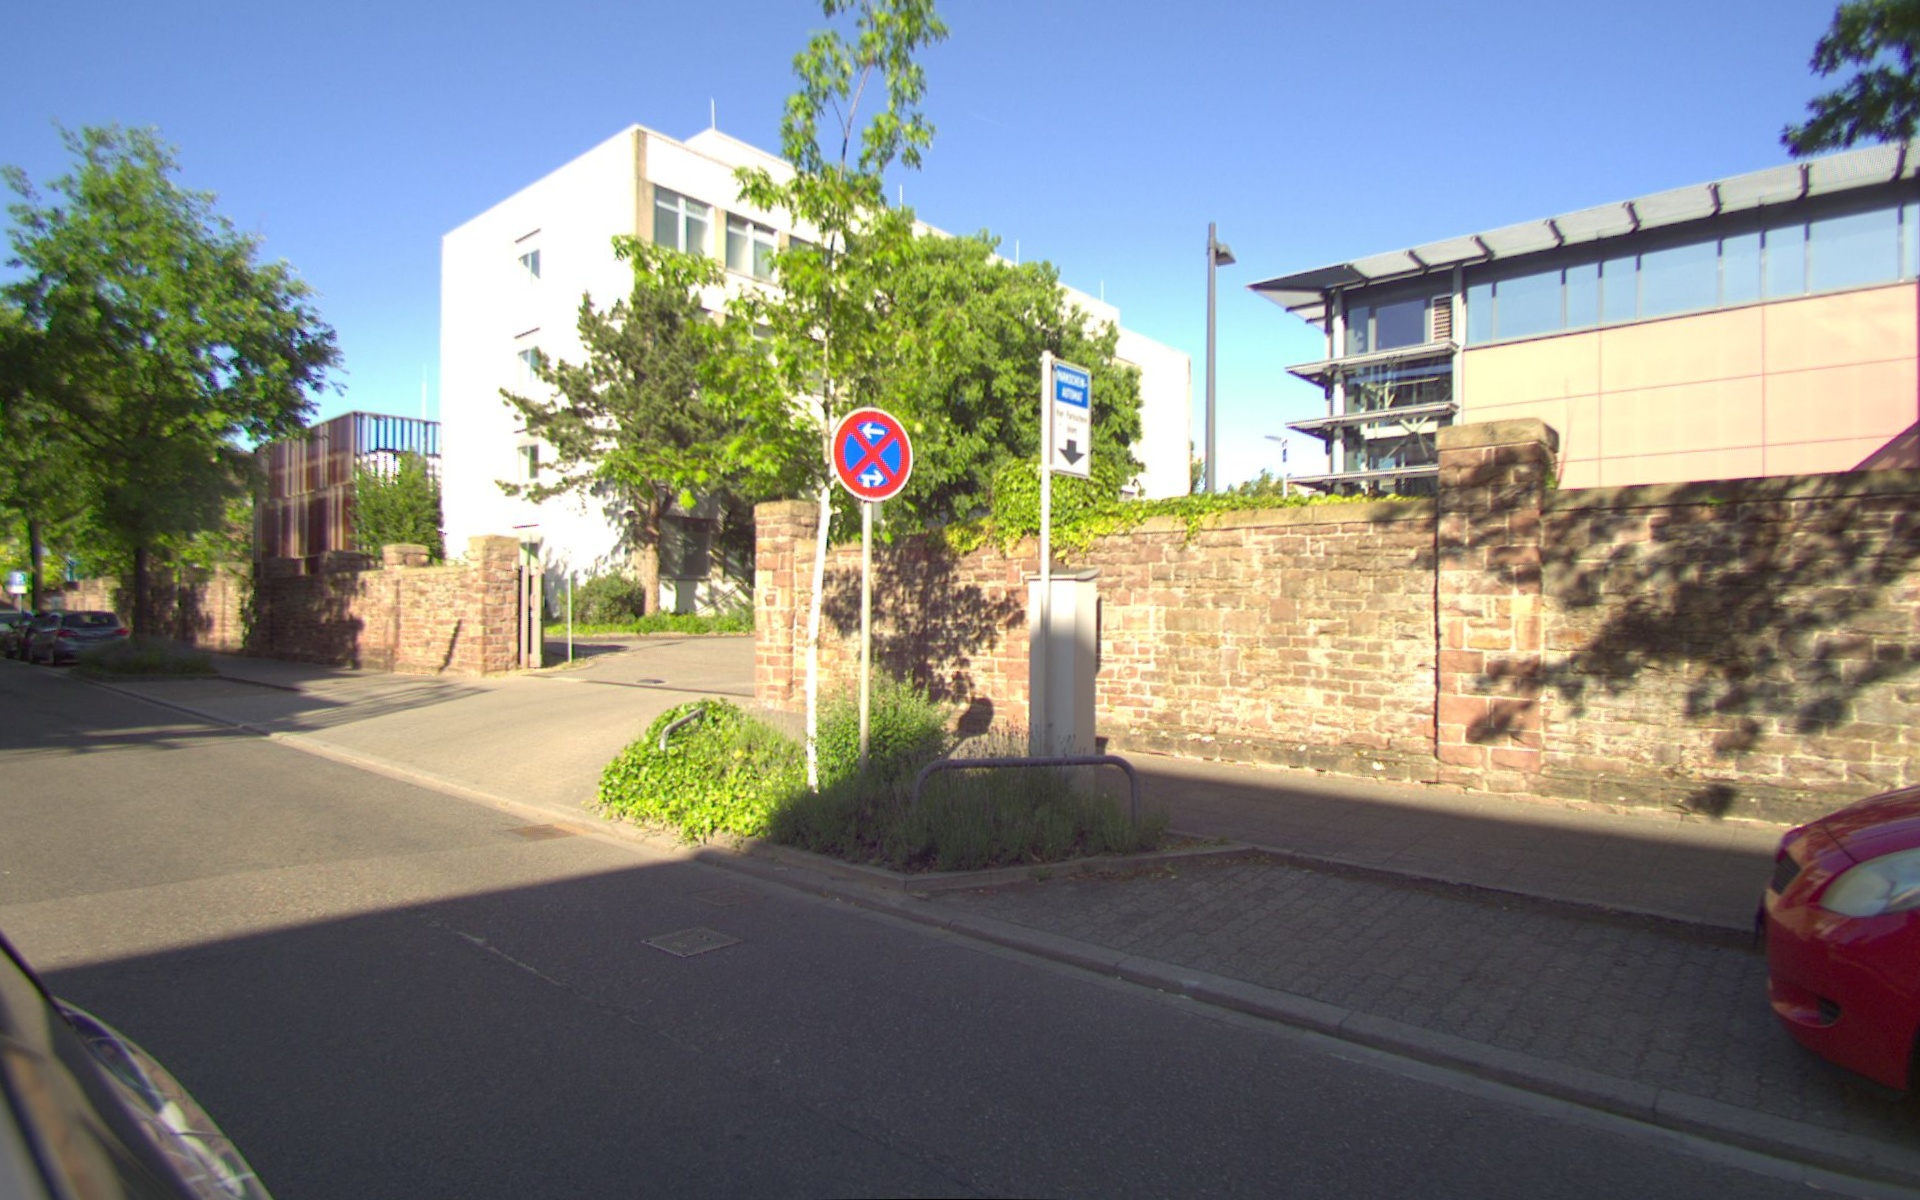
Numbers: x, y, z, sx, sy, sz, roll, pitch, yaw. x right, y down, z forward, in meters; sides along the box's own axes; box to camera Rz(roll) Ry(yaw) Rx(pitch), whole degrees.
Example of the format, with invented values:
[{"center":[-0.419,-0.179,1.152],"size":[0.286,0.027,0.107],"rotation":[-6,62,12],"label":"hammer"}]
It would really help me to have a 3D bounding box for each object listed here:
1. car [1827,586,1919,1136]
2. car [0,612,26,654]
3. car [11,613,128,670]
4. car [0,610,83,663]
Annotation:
[{"center":[4.357,0.690,2.225],"size":[3.707,1.470,1.592],"rotation":[0,1,42],"label":"car"},{"center":[-37.151,1.275,38.710],"size":[3.848,1.522,1.659],"rotation":[-1,2,42],"label":"car"},{"center":[-24.577,1.091,27.909],"size":[3.832,1.432,1.671],"rotation":[-1,1,37],"label":"car"},{"center":[-28.628,1.080,31.400],"size":[4.042,1.526,1.557],"rotation":[-1,0,40],"label":"car"}]
